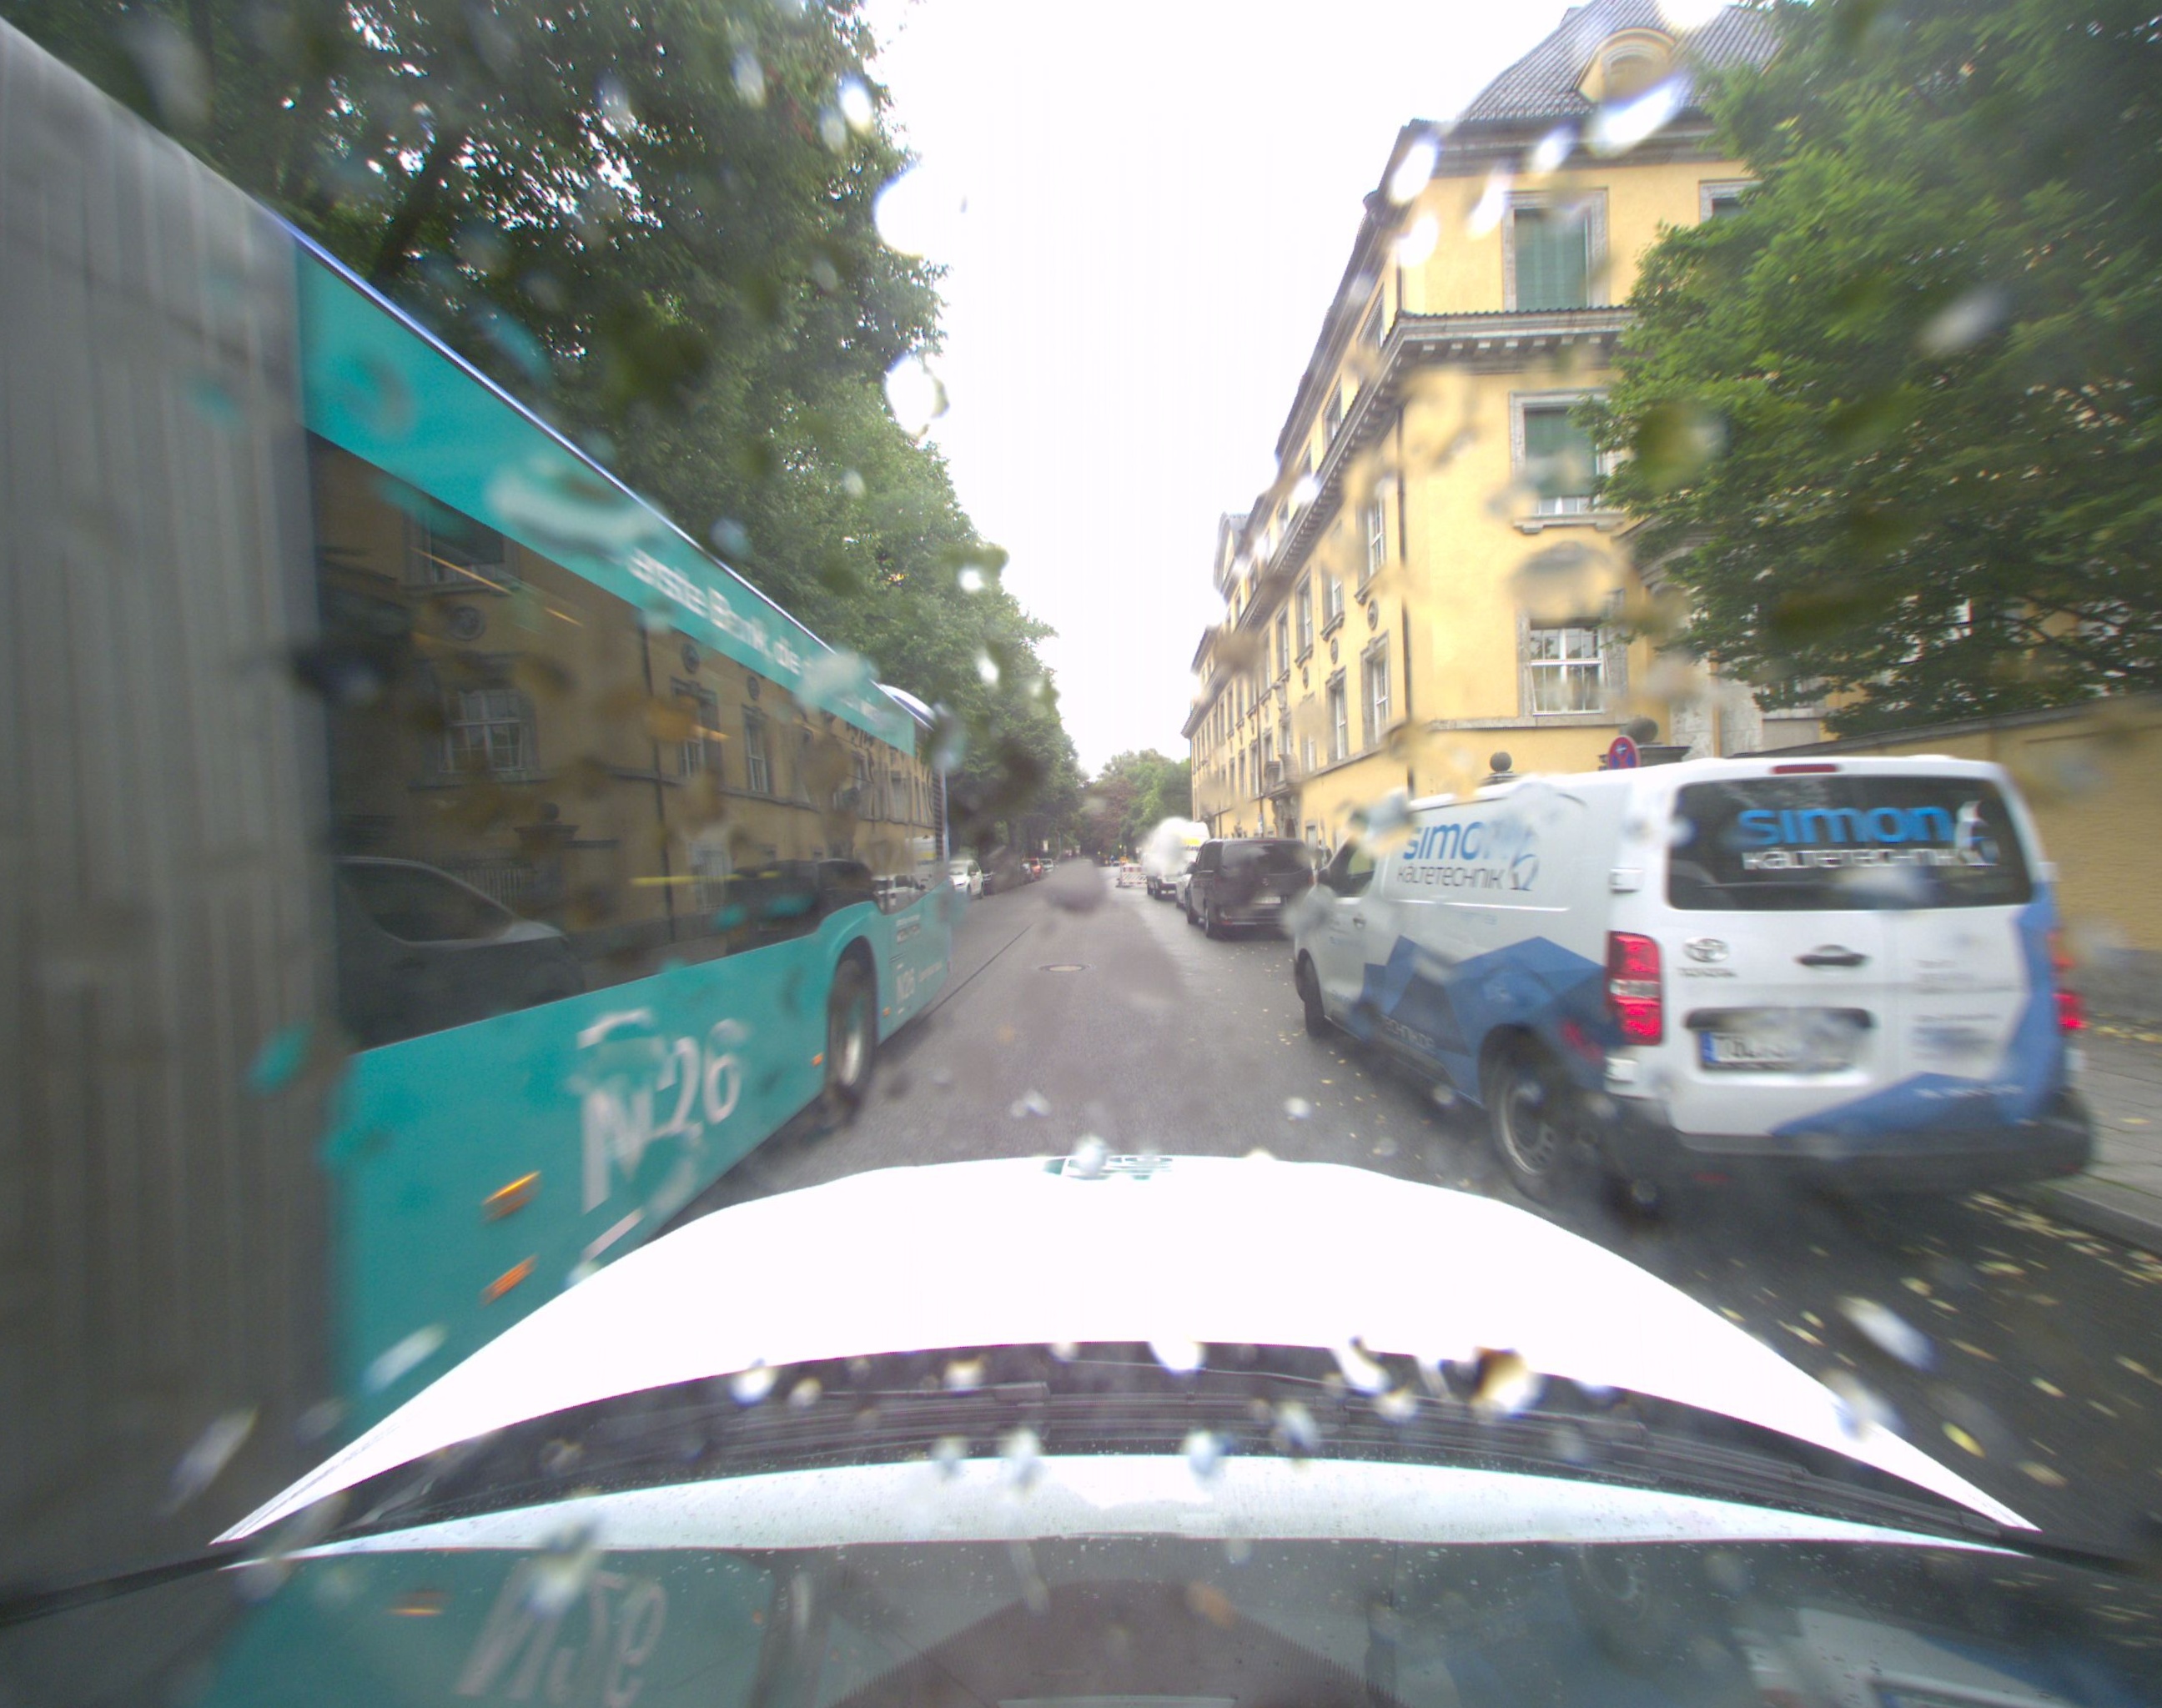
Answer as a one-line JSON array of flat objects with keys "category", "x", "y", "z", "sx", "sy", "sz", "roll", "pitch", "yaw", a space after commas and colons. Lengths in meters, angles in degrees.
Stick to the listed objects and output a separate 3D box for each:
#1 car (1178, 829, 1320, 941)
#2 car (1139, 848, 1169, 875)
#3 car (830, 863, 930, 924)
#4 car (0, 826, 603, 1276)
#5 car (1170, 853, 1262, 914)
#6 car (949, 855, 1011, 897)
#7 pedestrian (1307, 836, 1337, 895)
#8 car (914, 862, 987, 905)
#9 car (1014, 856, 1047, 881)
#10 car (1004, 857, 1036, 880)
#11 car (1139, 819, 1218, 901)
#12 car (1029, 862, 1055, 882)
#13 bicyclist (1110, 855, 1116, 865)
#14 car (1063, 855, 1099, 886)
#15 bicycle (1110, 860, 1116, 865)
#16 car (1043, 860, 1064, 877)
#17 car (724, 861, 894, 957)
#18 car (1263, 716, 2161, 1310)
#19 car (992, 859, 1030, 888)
[{"category": "car", "x": 3.203, "y": 0.565, "z": 16.586, "sx": 1.864, "sy": 1.869, "sz": 4.986, "roll": -2, "pitch": -1, "yaw": 0}, {"category": "car", "x": 4.916, "y": 0.536, "z": 55.442, "sx": 1.733, "sy": 1.750, "sz": 4.357, "roll": -2, "pitch": -1, "yaw": 1}, {"category": "car", "x": -5.452, "y": 1.015, "z": 22.607, "sx": 1.666, "sy": 1.469, "sz": 4.104, "roll": -2, "pitch": -1, "yaw": 0}, {"category": "car", "x": -5.399, "y": 0.872, "z": 5.327, "sx": 1.778, "sy": 1.877, "sz": 4.548, "roll": -2, "pitch": -1, "yaw": 0}, {"category": "car", "x": 3.652, "y": 0.769, "z": 22.762, "sx": 1.864, "sy": 1.458, "sz": 4.255, "roll": -2, "pitch": -1, "yaw": 0}, {"category": "car", "x": -4.760, "y": 0.995, "z": 39.246, "sx": 1.985, "sy": 1.797, "sz": 4.924, "roll": -3, "pitch": -1, "yaw": 3}, {"category": "pedestrian", "x": 7.710, "y": 0.364, "z": 26.064, "sx": 0.698, "sy": 1.804, "sz": 0.583, "roll": -4, "pitch": -1, "yaw": 1}, {"category": "car", "x": -4.976, "y": 1.080, "z": 31.729, "sx": 1.802, "sy": 1.469, "sz": 4.999, "roll": -2, "pitch": -1, "yaw": 2}, {"category": "car", "x": -3.765, "y": 1.051, "z": 61.533, "sx": 1.864, "sy": 1.728, "sz": 4.645, "roll": -2, "pitch": -1, "yaw": 4}, {"category": "car", "x": -4.170, "y": 0.970, "z": 55.926, "sx": 1.721, "sy": 1.423, "sz": 4.253, "roll": -2, "pitch": 0, "yaw": 2}, {"category": "car", "x": 3.526, "y": 0.239, "z": 30.975, "sx": 2.047, "sy": 2.673, "sz": 7.614, "roll": -2, "pitch": -1, "yaw": 1}, {"category": "car", "x": -3.329, "y": 1.489, "z": 70.196, "sx": 1.808, "sy": 1.601, "sz": 4.516, "roll": -2, "pitch": -1, "yaw": 2}, {"category": "bicyclist", "x": 5.095, "y": 0.932, "z": 130.308, "sx": 0.680, "sy": 1.504, "sz": 0.899, "roll": -2, "pitch": 0, "yaw": -6}, {"category": "car", "x": 0.050, "y": 0.901, "z": 45.511, "sx": 1.569, "sy": 1.584, "sz": 4.050, "roll": -2, "pitch": -1, "yaw": 6}, {"category": "bicycle", "x": 5.089, "y": 1.357, "z": 130.480, "sx": 0.679, "sy": 0.830, "sz": 2.105, "roll": -2, "pitch": -1, "yaw": -6}, {"category": "car", "x": -2.512, "y": 1.295, "z": 75.927, "sx": 1.571, "sy": 1.497, "sz": 4.201, "roll": -2, "pitch": -1, "yaw": 2}, {"category": "car", "x": -5.238, "y": 0.982, "z": 16.395, "sx": 1.778, "sy": 1.597, "sz": 4.584, "roll": -2, "pitch": -1, "yaw": 0}, {"category": "car", "x": 2.805, "y": 0.518, "z": 5.248, "sx": 2.008, "sy": 1.906, "sz": 5.161, "roll": -1, "pitch": 0, "yaw": -1}, {"category": "car", "x": -4.241, "y": 1.156, "z": 50.027, "sx": 1.779, "sy": 1.574, "sz": 4.488, "roll": -2, "pitch": 0, "yaw": 2}]
